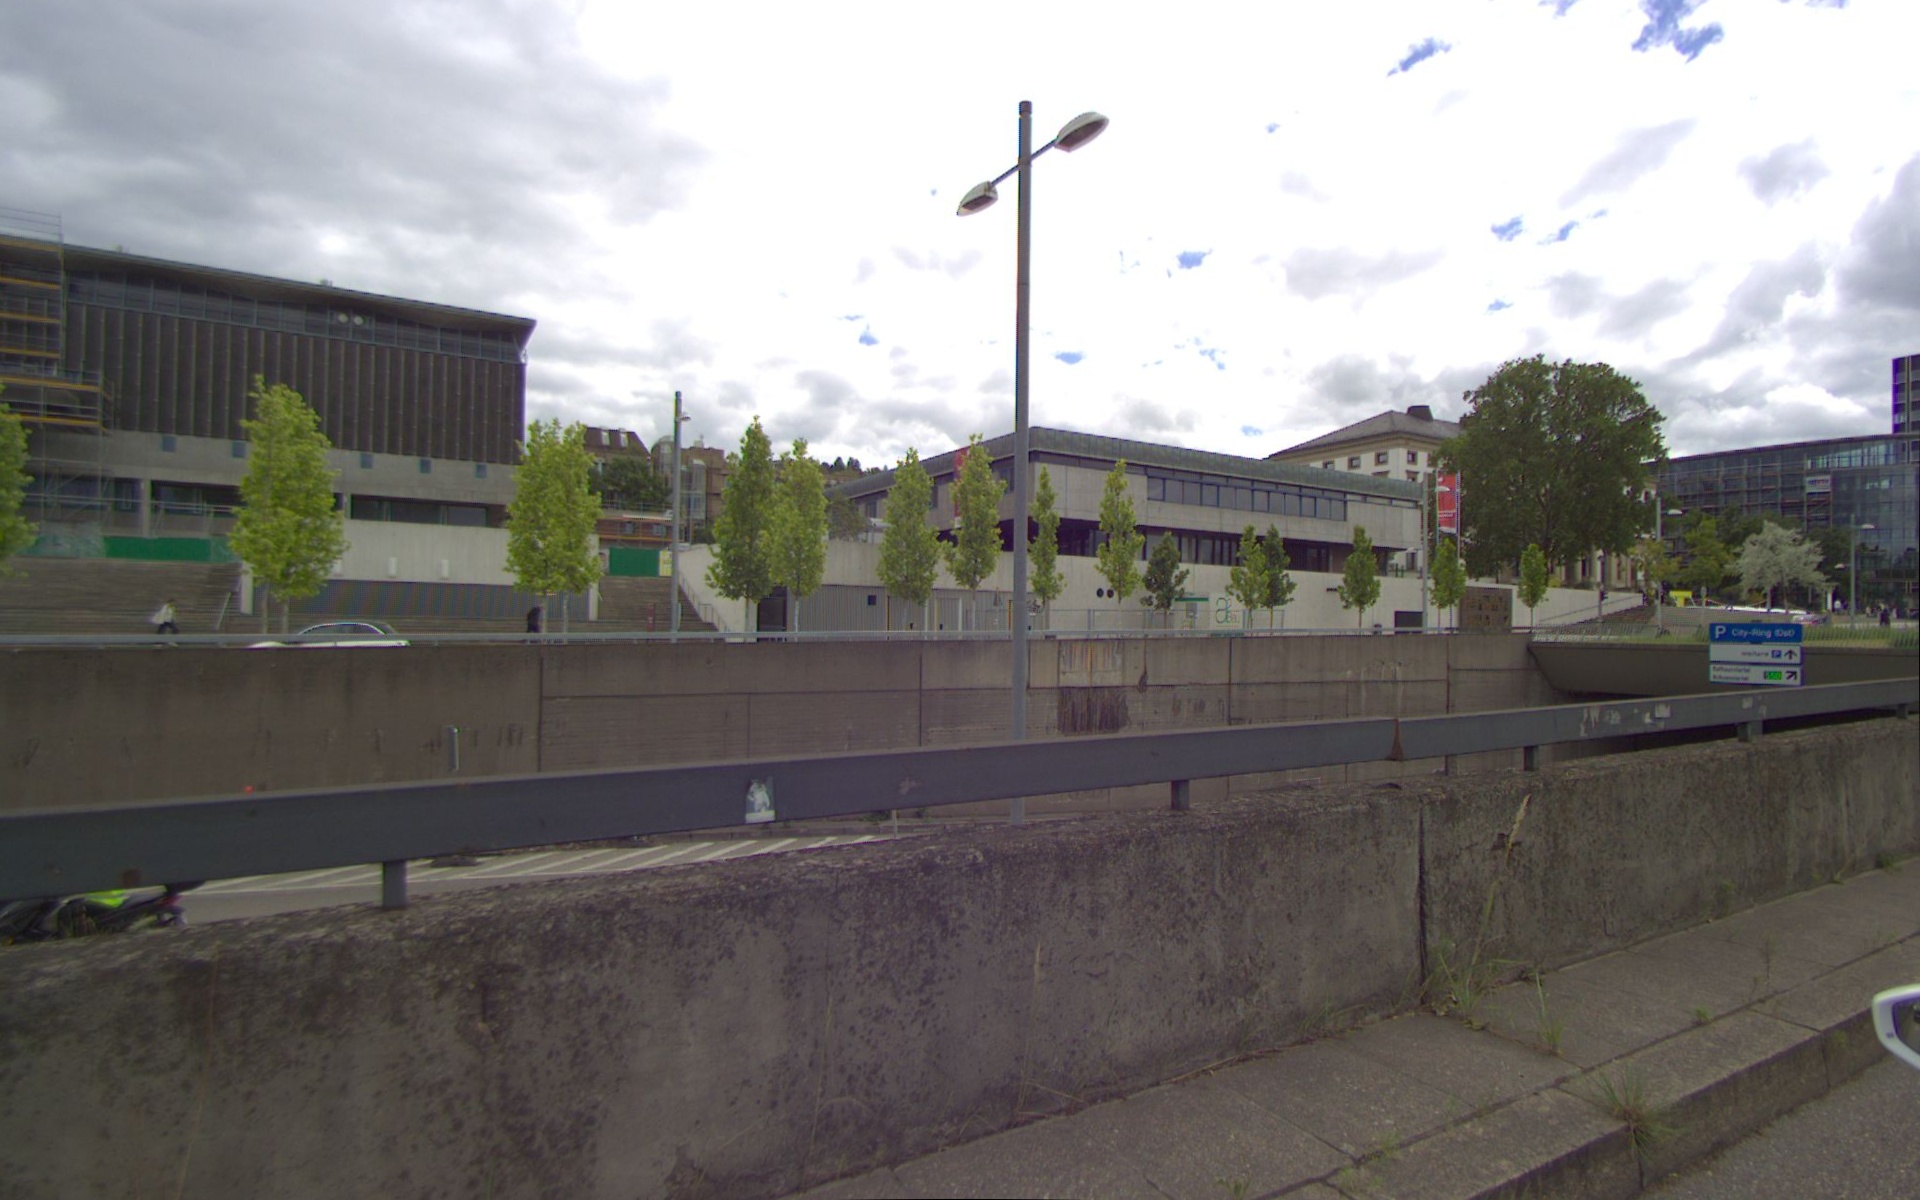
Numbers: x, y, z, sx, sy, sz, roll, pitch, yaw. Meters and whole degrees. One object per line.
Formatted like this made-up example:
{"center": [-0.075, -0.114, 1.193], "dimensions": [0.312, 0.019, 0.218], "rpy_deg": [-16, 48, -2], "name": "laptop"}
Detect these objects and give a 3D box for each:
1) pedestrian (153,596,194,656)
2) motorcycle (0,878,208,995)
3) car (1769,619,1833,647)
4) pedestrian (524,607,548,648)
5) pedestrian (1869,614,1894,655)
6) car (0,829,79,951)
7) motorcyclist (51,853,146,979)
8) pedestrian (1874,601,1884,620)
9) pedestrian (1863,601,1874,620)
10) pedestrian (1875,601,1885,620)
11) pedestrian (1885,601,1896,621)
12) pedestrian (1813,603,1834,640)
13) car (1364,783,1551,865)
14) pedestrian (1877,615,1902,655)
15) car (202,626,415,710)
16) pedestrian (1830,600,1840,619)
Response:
{"center": [-27.322, 0.893, 34.904], "dimensions": [0.777, 2.040, 0.741], "rpy_deg": [-1, 0, 10], "name": "pedestrian"}
{"center": [-10.837, 4.207, 12.675], "dimensions": [2.027, 1.112, 0.682], "rpy_deg": [4, -6, -30], "name": "motorcycle"}
{"center": [59.819, 2.320, 71.413], "dimensions": [4.683, 1.879, 2.163], "rpy_deg": [0, -1, -32], "name": "car"}
{"center": [-17.462, 1.125, 41.414], "dimensions": [0.779, 1.664, 0.738], "rpy_deg": [-1, 0, -15], "name": "pedestrian"}
{"center": [47.008, 1.758, 51.226], "dimensions": [0.779, 2.040, 0.834], "rpy_deg": [-1, -1, 33], "name": "pedestrian"}
{"center": [-14.874, 4.033, 13.680], "dimensions": [3.962, 1.345, 1.796], "rpy_deg": [5, -4, -31], "name": "car"}
{"center": [-10.853, 3.956, 12.682], "dimensions": [0.710, 1.369, 0.666], "rpy_deg": [4, -6, -31], "name": "motorcyclist"}
{"center": [97.057, 1.112, 106.080], "dimensions": [0.730, 2.040, 0.789], "rpy_deg": [-1, 0, 40], "name": "pedestrian"}
{"center": [96.444, 1.092, 106.640], "dimensions": [0.730, 2.040, 1.109], "rpy_deg": [-1, 0, 40], "name": "pedestrian"}
{"center": [98.251, 1.153, 107.283], "dimensions": [0.730, 2.040, 0.789], "rpy_deg": [-1, 0, 40], "name": "pedestrian"}
{"center": [98.497, 1.174, 106.360], "dimensions": [0.730, 2.040, 1.109], "rpy_deg": [-1, 0, 40], "name": "pedestrian"}
{"center": [48.855, 1.198, 56.817], "dimensions": [0.623, 2.040, 0.724], "rpy_deg": [-6, 3, -37], "name": "pedestrian"}
{"center": [13.437, 5.934, 27.036], "dimensions": [5.191, 1.659, 1.985], "rpy_deg": [3, -8, -32], "name": "car"}
{"center": [47.784, 1.786, 51.635], "dimensions": [0.779, 2.040, 0.834], "rpy_deg": [-1, -1, 33], "name": "pedestrian"}
{"center": [-14.937, 1.556, 23.304], "dimensions": [3.954, 1.786, 1.985], "rpy_deg": [2, -4, -31], "name": "car"}
{"center": [94.633, 1.014, 108.665], "dimensions": [0.730, 2.040, 0.789], "rpy_deg": [-1, 0, 40], "name": "pedestrian"}
